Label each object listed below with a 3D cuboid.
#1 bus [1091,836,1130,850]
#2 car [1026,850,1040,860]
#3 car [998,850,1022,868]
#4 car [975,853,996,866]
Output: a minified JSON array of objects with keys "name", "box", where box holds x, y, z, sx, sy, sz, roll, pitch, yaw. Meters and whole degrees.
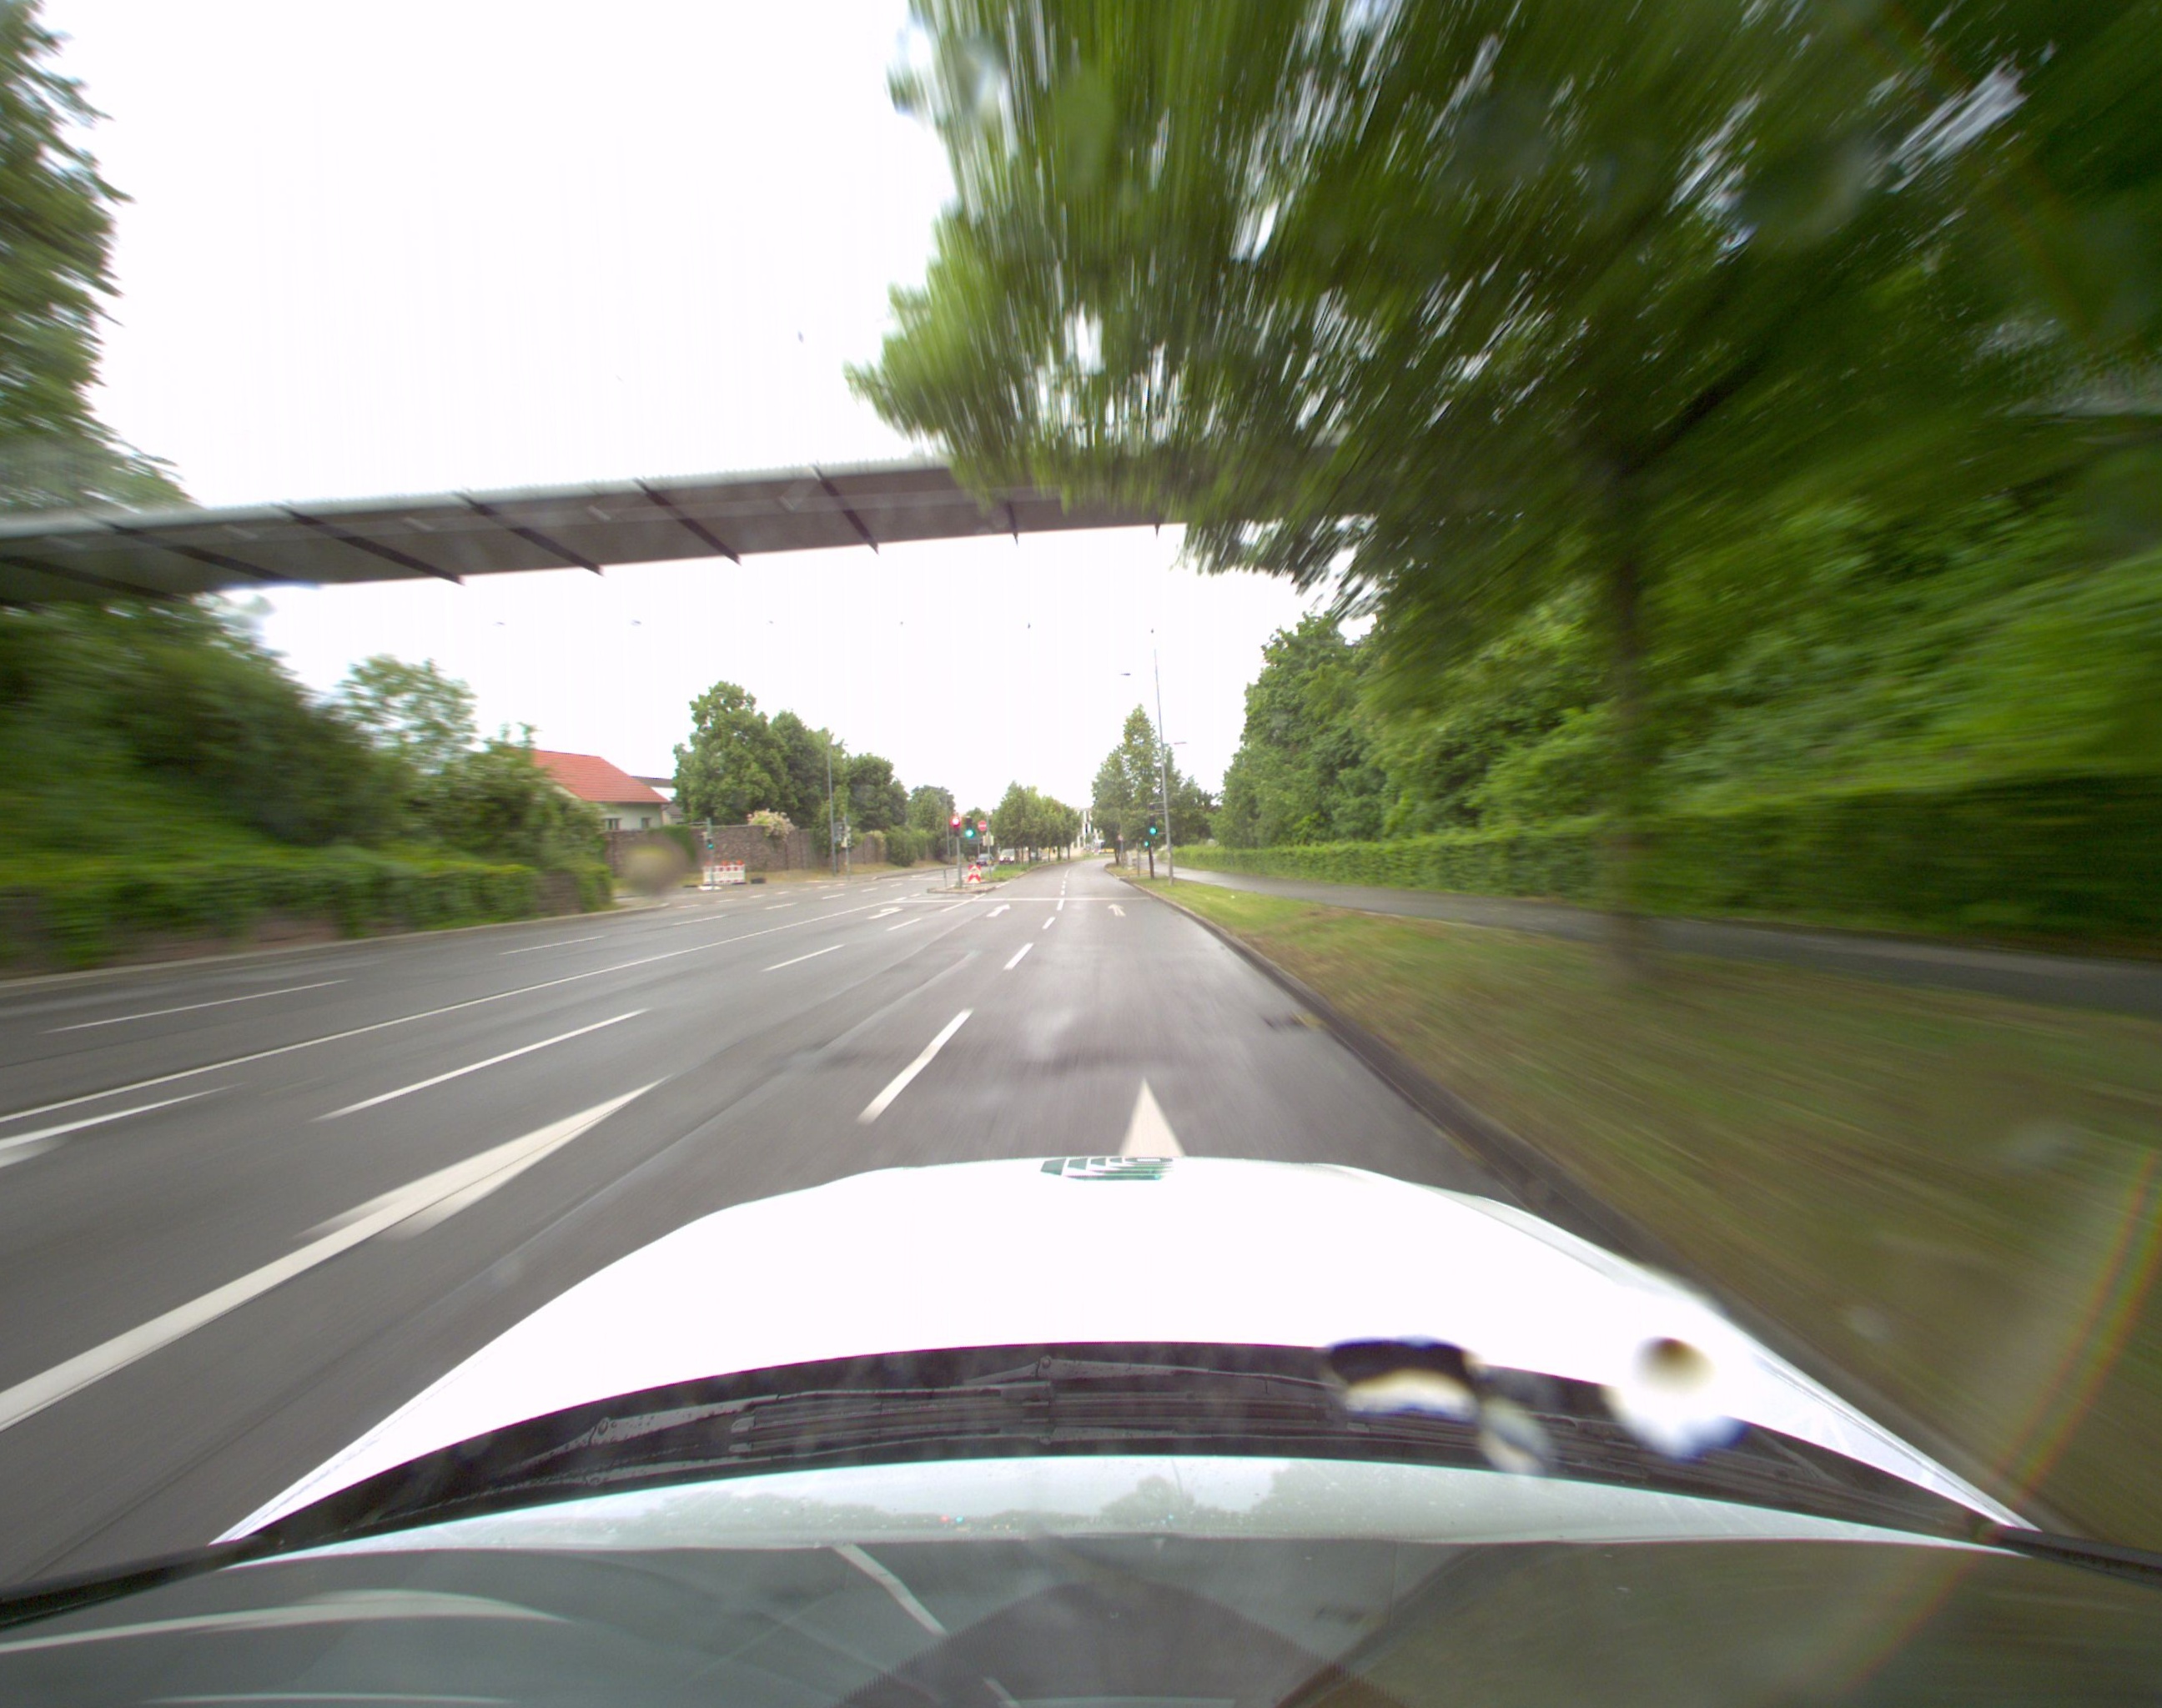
[{"name":"bus","box":[7.856,-2.783,215.044,2.759,3.357,18.334,-1,-1,27]},{"name":"car","box":[-7.784,0.197,131.907,1.678,1.539,2.921,-1,1,6]},{"name":"car","box":[-8.074,0.534,93.375,2.005,1.919,5.099,-1,0,3]},{"name":"car","box":[-11.256,0.663,96.136,1.590,1.489,4.006,-1,0,5]}]
